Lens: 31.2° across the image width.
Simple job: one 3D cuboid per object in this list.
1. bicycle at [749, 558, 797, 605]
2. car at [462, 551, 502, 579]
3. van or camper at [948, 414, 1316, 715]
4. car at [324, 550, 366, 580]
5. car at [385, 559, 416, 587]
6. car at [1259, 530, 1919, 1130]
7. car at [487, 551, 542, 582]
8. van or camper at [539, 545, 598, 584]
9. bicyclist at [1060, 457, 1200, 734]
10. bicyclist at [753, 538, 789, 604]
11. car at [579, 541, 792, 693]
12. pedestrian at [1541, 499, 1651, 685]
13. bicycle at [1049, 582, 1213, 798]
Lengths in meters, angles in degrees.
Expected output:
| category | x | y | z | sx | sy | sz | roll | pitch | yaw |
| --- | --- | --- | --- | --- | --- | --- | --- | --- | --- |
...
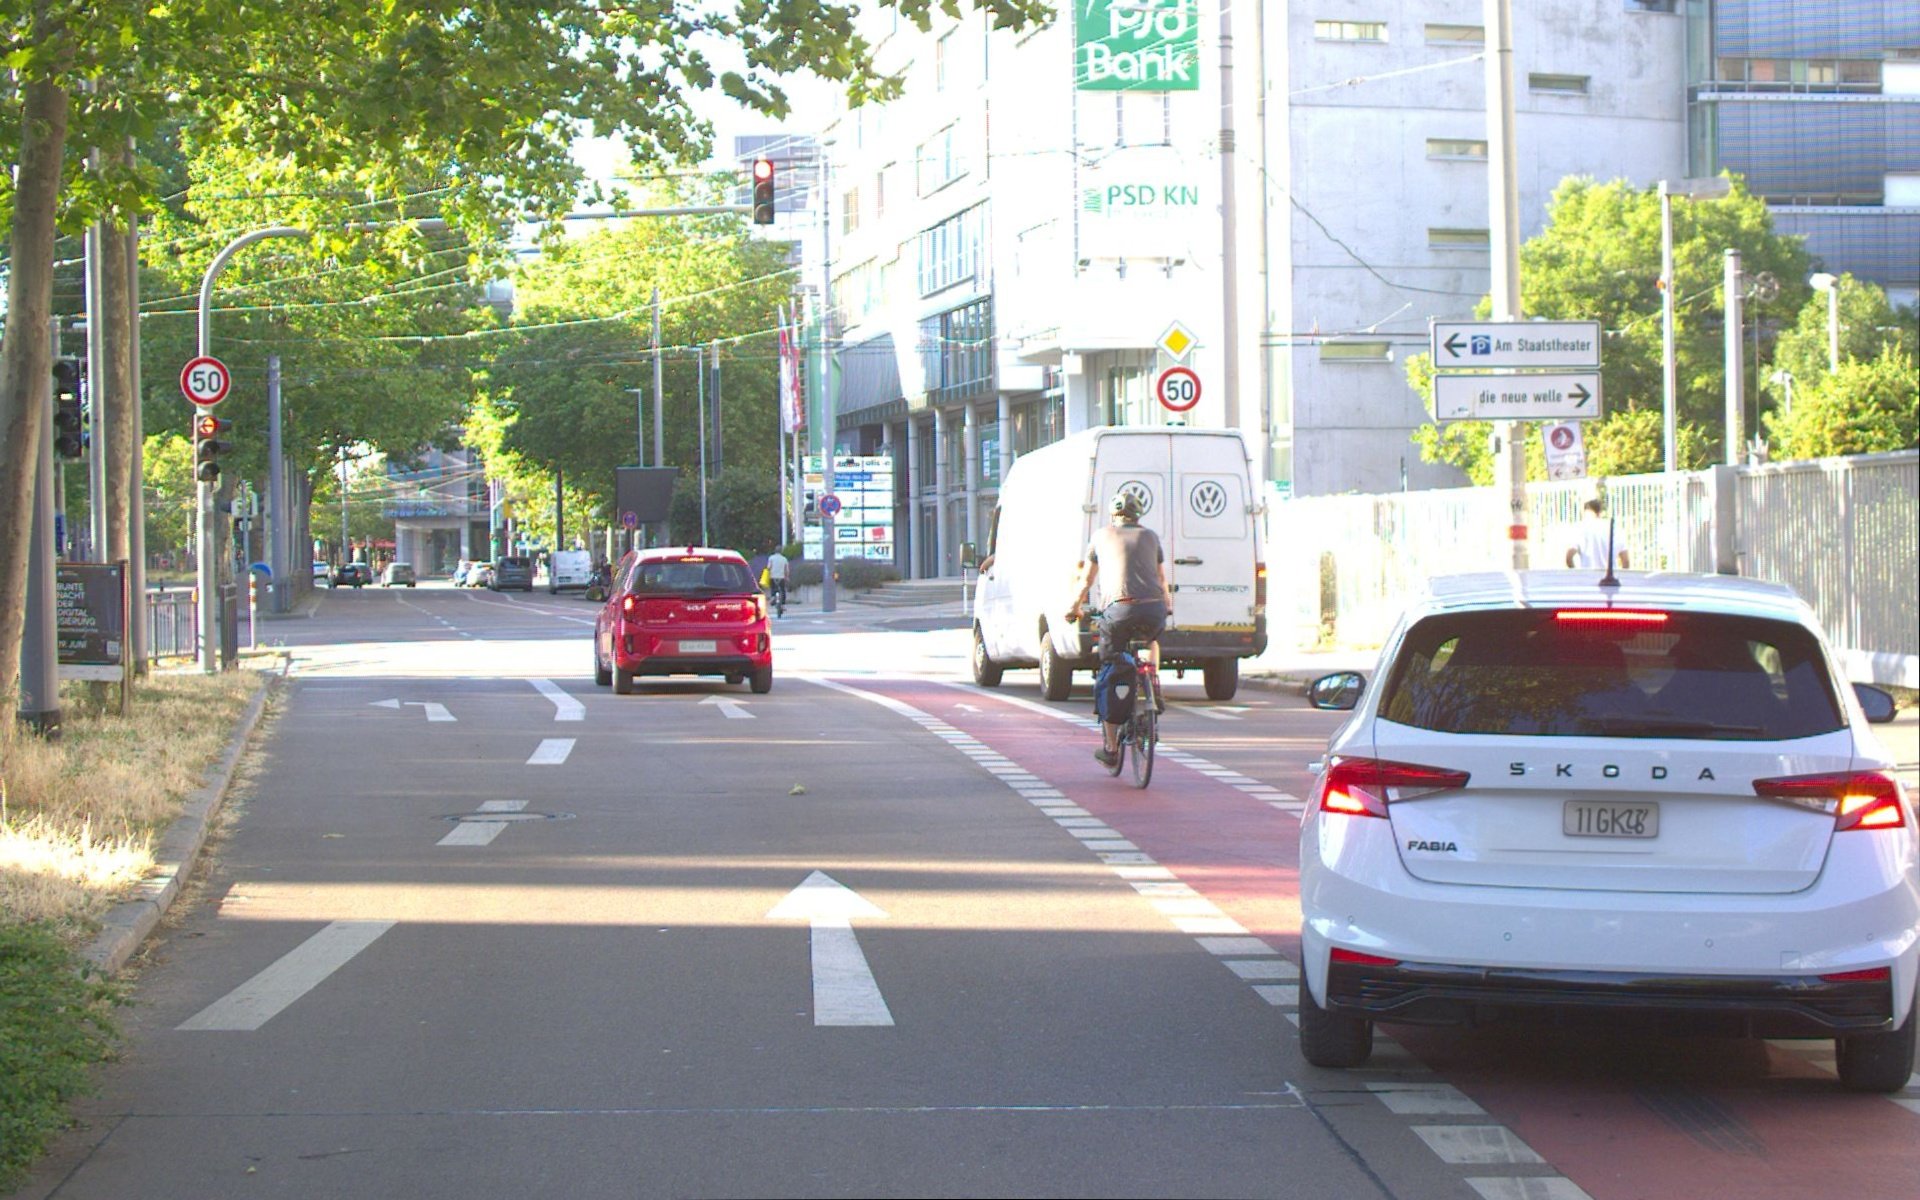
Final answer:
| category | x | y | z | sx | sy | sz | roll | pitch | yaw |
| --- | --- | --- | --- | --- | --- | --- | --- | --- | --- |
| bicycle | -4.693 | -0.474 | 86.122 | 0.792 | 1.157 | 2.500 | -1 | 1 | -12 |
| car | -28.025 | -2.067 | 201.582 | 1.884 | 1.523 | 4.433 | -2 | 1 | -13 |
| van or camper | 1.590 | -0.373 | 34.926 | 2.268 | 2.724 | 6.348 | 1 | 1 | -10 |
| car | -35.669 | -2.041 | 199.396 | 2.057 | 1.648 | 3.493 | -2 | 1 | -15 |
| car | -33.605 | -1.617 | 206.571 | 1.657 | 1.601 | 3.532 | -2 | 1 | -11 |
| car | 1.899 | 0.561 | 10.870 | 1.802 | 1.496 | 3.980 | 2 | 1 | 6 |
| car | -23.323 | -1.745 | 179.840 | 2.477 | 1.523 | 4.433 | -2 | 1 | -12 |
| van or camper | -18.307 | -1.655 | 160.583 | 2.145 | 1.744 | 4.433 | -2 | 1 | -13 |
| bicyclist | 1.038 | -0.035 | 21.143 | 0.743 | 1.663 | 0.745 | 1 | 1 | -4 |
| bicyclist | -4.754 | -0.730 | 86.419 | 0.785 | 1.629 | 0.639 | -1 | 1 | -13 |
| car | -2.933 | 0.135 | 36.093 | 1.839 | 1.484 | 3.717 | -1 | 1 | -10 |
| pedestrian | 6.091 | -0.085 | 32.949 | 0.786 | 1.742 | 0.772 | -2 | 1 | -10 |
| bicycle | 1.030 | 0.524 | 21.198 | 0.743 | 1.220 | 2.156 | 1 | 1 | -4 |
